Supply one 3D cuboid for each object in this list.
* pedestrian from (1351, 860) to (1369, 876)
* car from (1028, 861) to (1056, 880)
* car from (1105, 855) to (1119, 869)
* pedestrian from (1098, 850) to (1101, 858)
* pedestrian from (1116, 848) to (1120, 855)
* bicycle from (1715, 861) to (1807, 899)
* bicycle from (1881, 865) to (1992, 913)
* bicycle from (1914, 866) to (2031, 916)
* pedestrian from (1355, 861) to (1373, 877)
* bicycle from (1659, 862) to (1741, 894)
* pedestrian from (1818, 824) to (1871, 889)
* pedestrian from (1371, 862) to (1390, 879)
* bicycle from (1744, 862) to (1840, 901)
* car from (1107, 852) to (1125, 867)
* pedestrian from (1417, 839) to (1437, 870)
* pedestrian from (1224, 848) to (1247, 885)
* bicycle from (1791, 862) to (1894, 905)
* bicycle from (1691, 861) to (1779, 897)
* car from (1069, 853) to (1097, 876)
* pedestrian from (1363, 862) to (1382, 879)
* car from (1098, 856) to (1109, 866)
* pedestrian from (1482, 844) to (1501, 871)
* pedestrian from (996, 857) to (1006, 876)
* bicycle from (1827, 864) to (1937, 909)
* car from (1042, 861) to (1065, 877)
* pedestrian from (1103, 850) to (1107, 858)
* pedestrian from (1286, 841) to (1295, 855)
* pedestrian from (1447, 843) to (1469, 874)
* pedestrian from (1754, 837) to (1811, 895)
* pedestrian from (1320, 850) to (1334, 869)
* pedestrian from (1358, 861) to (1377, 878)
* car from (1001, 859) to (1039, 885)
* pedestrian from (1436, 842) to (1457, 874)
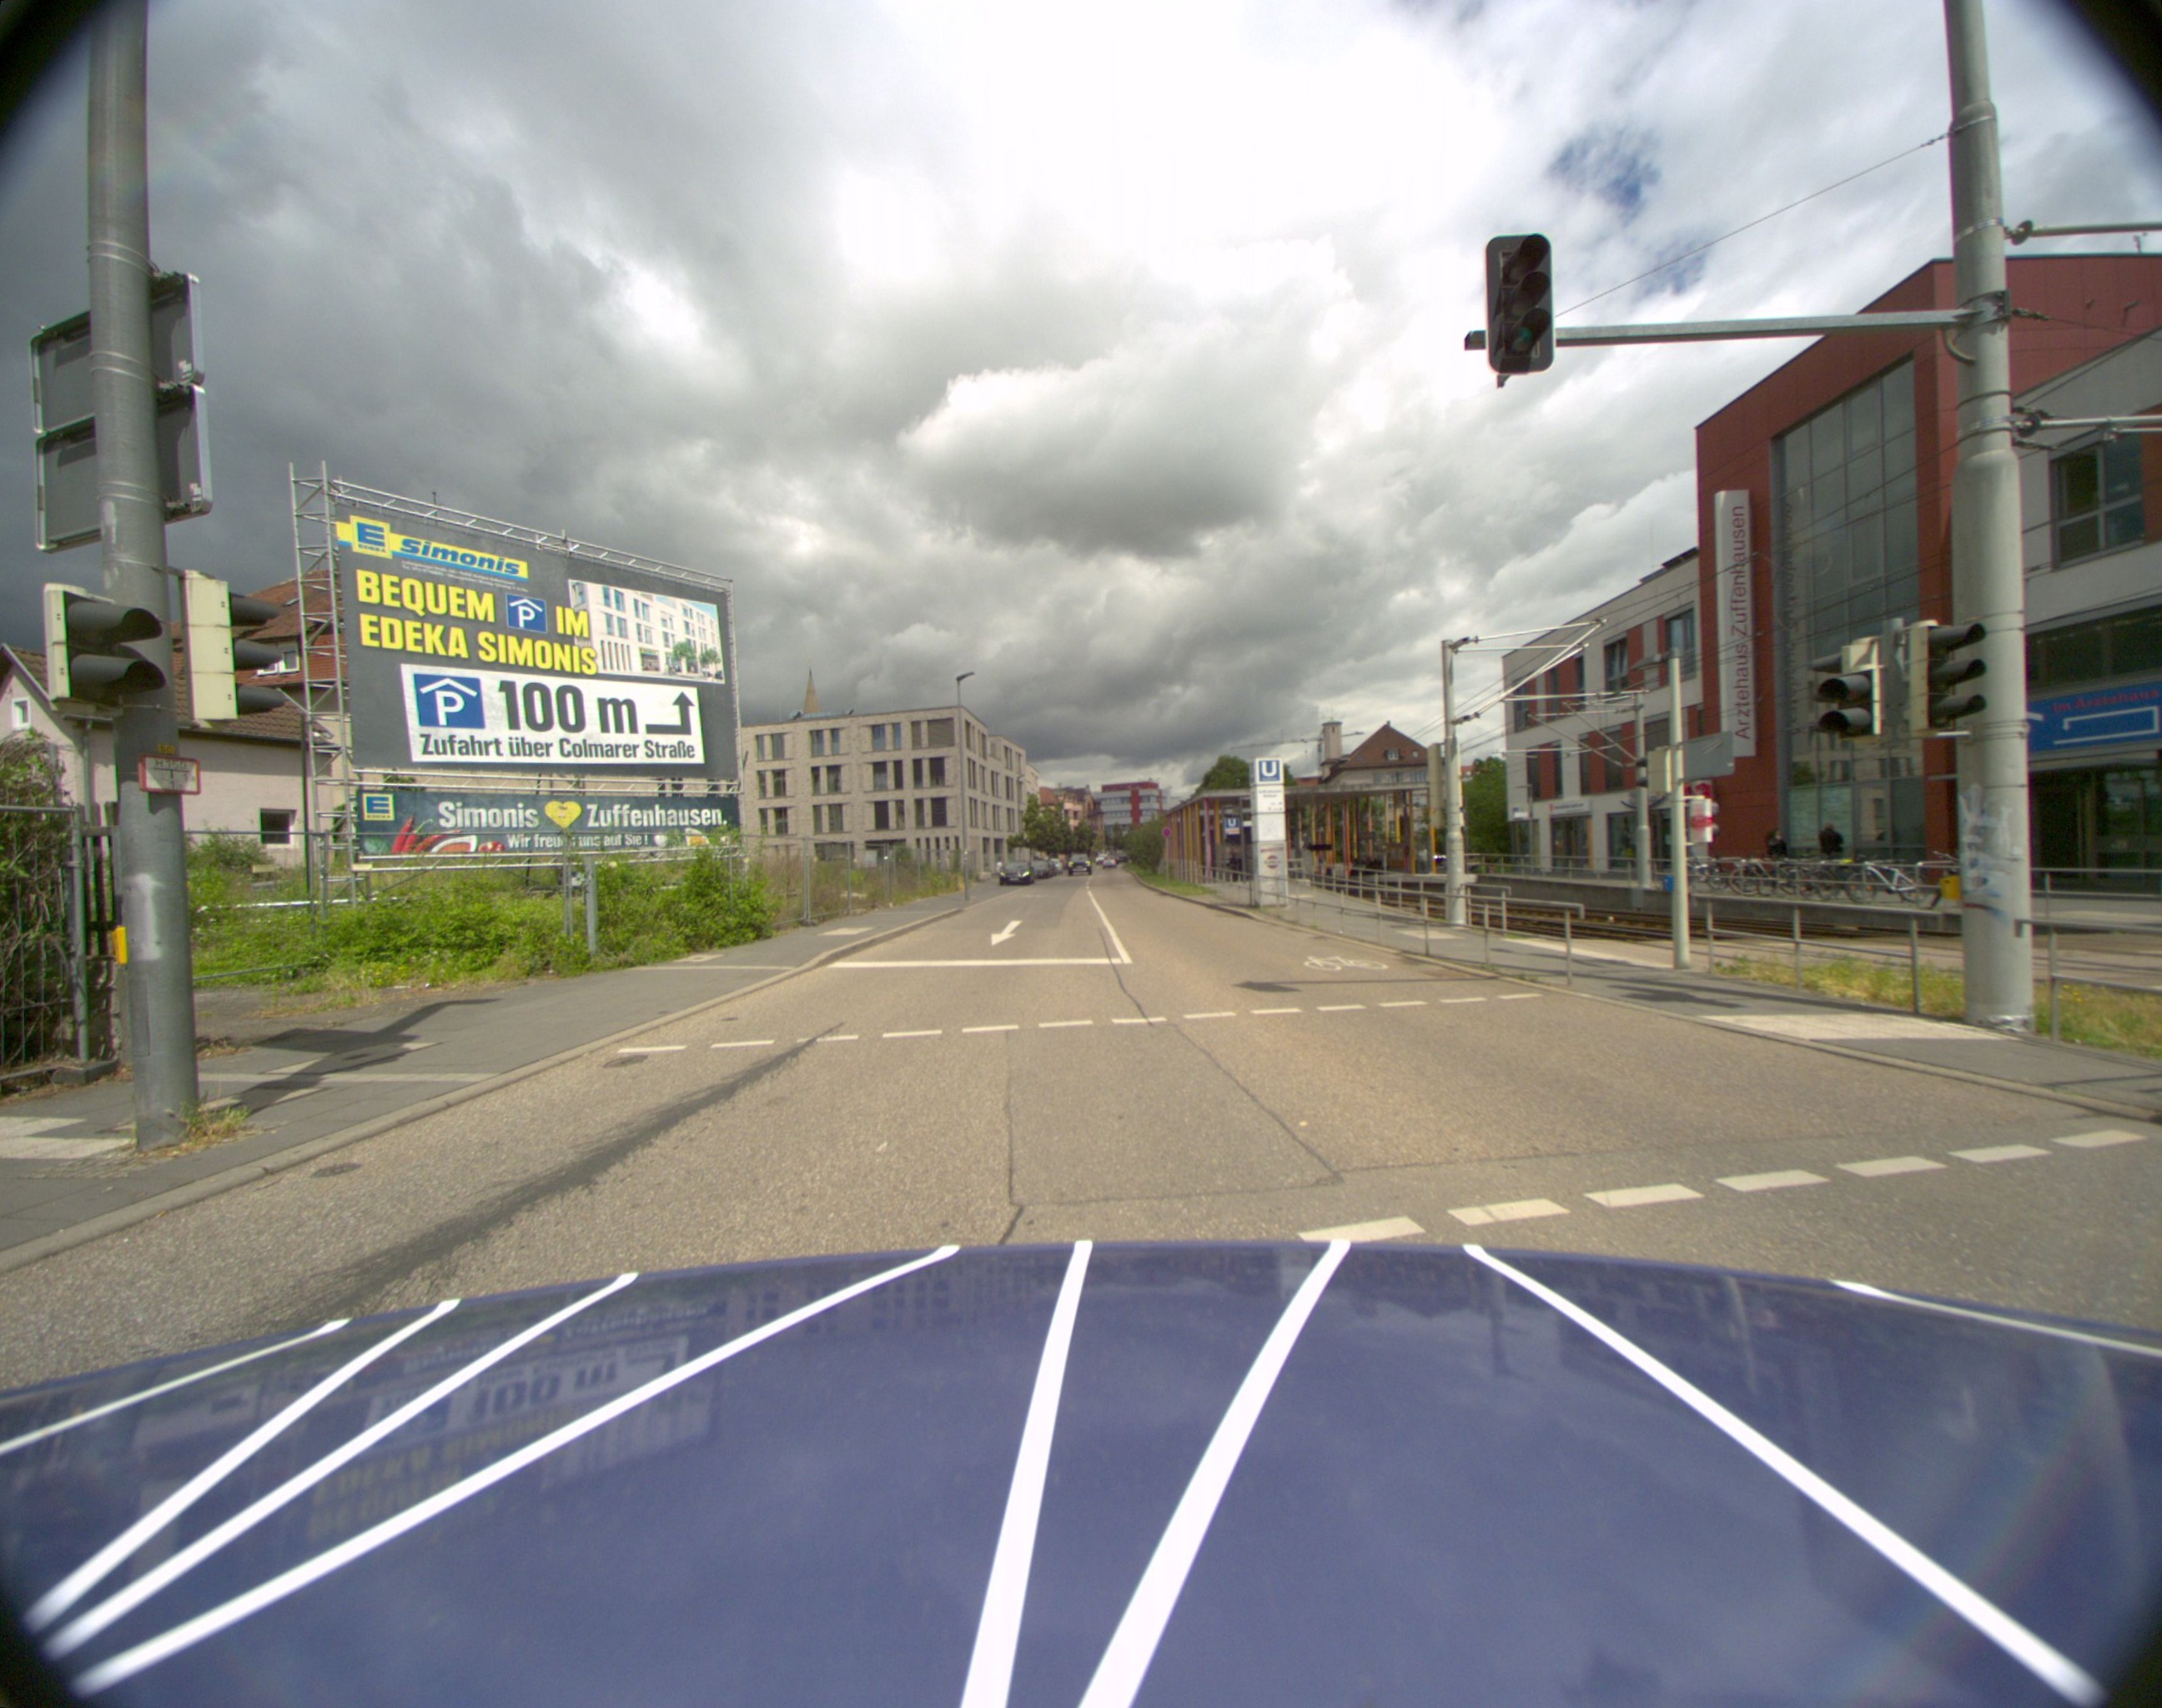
[{"bbox_3d":[20.027,0.997,54.592,0.943,1.128,0.886,-1,0,3],"label":"pedestrian"},{"bbox_3d":[-2.999,1.236,59.183,1.677,1.367,3.796,-1,0,4],"label":"car"},{"bbox_3d":[3.789,0.940,92.146,1.588,1.528,3.946,-4,1,2],"label":"car"},{"bbox_3d":[3.608,0.042,147.889,0.673,1.503,0.783,-1,0,3],"label":"pedestrian"},{"bbox_3d":[7.785,-0.541,158.669,0.673,1.503,0.783,-1,0,12],"label":"pedestrian"},{"bbox_3d":[17.840,0.682,19.960,1.861,0.917,0.455,-1,1,9],"label":"bicycle"},{"bbox_3d":[17.931,0.733,15.934,1.739,0.952,0.428,-2,1,4],"label":"bicycle"},{"bbox_3d":[17.934,0.744,15.301,1.739,0.947,0.428,-2,1,4],"label":"bicycle"},{"bbox_3d":[19.911,1.057,53.502,0.943,1.128,0.886,-1,0,3],"label":"pedestrian"},{"bbox_3d":[17.833,0.689,21.917,1.861,0.876,0.455,-1,1,10],"label":"bicycle"},{"bbox_3d":[22.321,0.064,22.219,0.881,1.835,0.862,-3,2,-27],"label":"pedestrian"},{"bbox_3d":[19.954,1.098,50.597,0.943,1.128,0.886,-1,0,3],"label":"pedestrian"},{"bbox_3d":[17.810,0.684,19.059,1.861,0.934,0.455,-2,1,6],"label":"bicycle"},{"bbox_3d":[4.674,0.769,102.178,1.997,2.002,4.003,-1,0,8],"label":"car"},{"bbox_3d":[22.739,0.030,49.965,0.864,1.957,1.106,0,1,3],"label":"pedestrian"},{"bbox_3d":[8.259,0.663,40.715,1.105,1.903,0.865,0,1,3],"label":"pedestrian"},{"bbox_3d":[17.928,0.690,17.906,1.862,0.957,0.454,-2,1,4],"label":"bicycle"},{"bbox_3d":[17.877,0.670,20.789,1.861,0.927,0.455,-1,1,10],"label":"bicycle"},{"bbox_3d":[0.212,0.881,66.550,2.003,1.876,5.151,0,1,5],"label":"car"},{"bbox_3d":[19.772,1.086,51.556,0.943,1.128,0.886,-1,0,3],"label":"pedestrian"},{"bbox_3d":[3.479,1.068,118.823,1.718,1.541,3.793,0,0,1],"label":"car"},{"bbox_3d":[30.205,0.227,55.931,1.104,1.957,0.865,0,1,17],"label":"pedestrian"},{"bbox_3d":[-6.450,0.998,61.415,0.673,1.503,0.782,-1,0,1],"label":"pedestrian"},{"bbox_3d":[17.878,0.717,16.975,1.862,0.930,0.454,-2,1,4],"label":"bicycle"},{"bbox_3d":[-2.381,1.275,67.079,1.677,1.299,3.795,0,1,4],"label":"car"},{"bbox_3d":[4.623,-0.007,147.814,0.673,1.503,0.783,-1,0,3],"label":"pedestrian"},{"bbox_3d":[31.289,-0.854,113.293,1.127,2.002,0.816,-1,0,6],"label":"pedestrian"},{"bbox_3d":[23.522,0.273,47.417,0.863,1.957,1.106,0,1,6],"label":"pedestrian"},{"bbox_3d":[20.780,0.343,22.519,0.789,1.688,0.934,-1,1,-13],"label":"pedestrian"},{"bbox_3d":[25.236,0.564,78.064,1.127,2.002,1.179,-1,0,6],"label":"pedestrian"},{"bbox_3d":[19.801,1.072,52.513,0.943,1.128,0.886,-1,0,3],"label":"pedestrian"},{"bbox_3d":[-3.587,1.022,45.244,1.677,1.415,3.795,0,1,4],"label":"car"},{"bbox_3d":[22.841,0.236,47.497,0.863,1.957,1.106,0,1,6],"label":"pedestrian"}]
